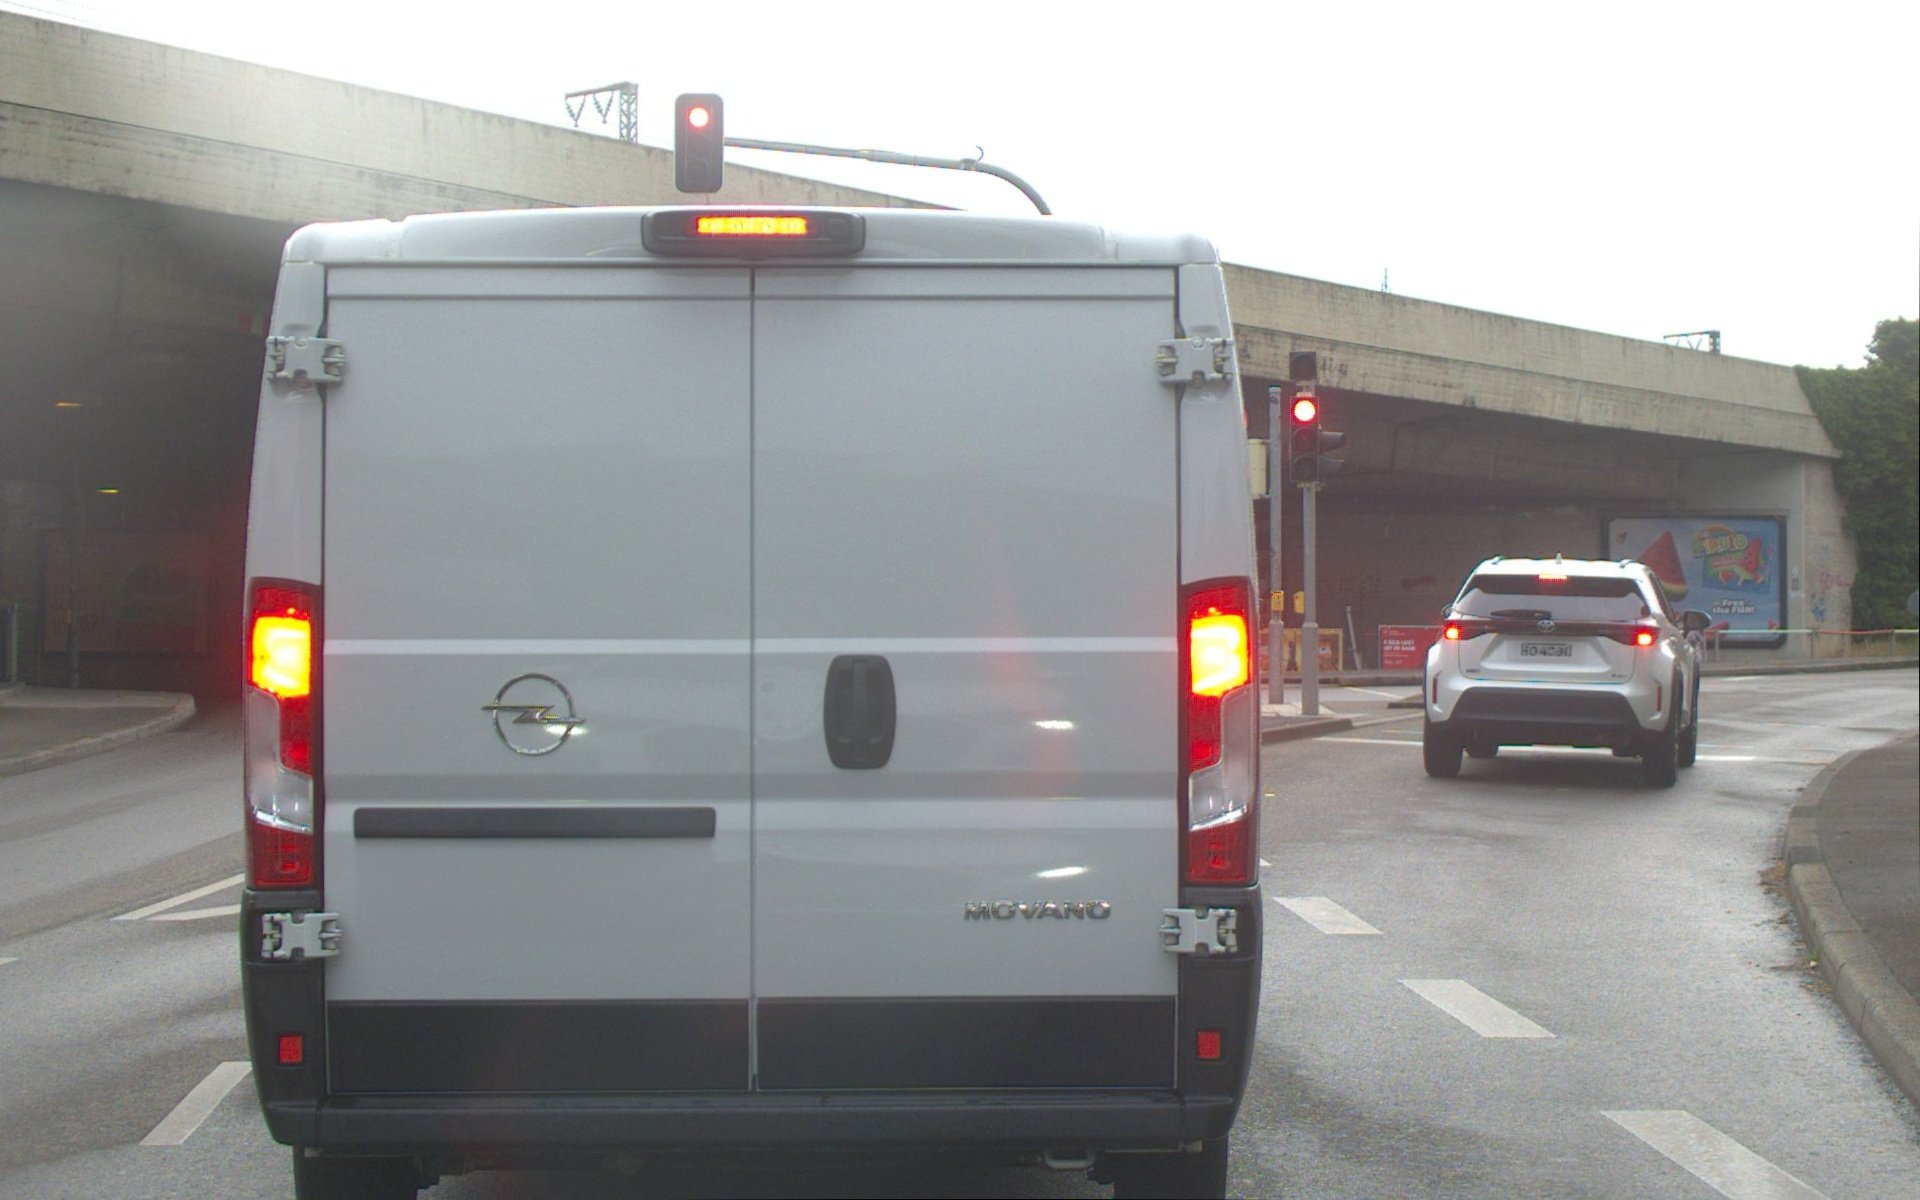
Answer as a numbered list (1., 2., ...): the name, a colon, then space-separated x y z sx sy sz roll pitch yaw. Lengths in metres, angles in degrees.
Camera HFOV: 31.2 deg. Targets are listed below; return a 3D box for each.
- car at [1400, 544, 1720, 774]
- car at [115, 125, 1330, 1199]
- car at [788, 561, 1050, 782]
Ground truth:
1. car: 4.481 0.397 25.229 1.995 1.544 3.997 0 0 15
2. car: -0.537 0.238 9.181 2.305 2.335 5.283 0 1 -2
3. car: -0.273 0.583 28.915 1.994 1.723 3.999 0 -1 2
